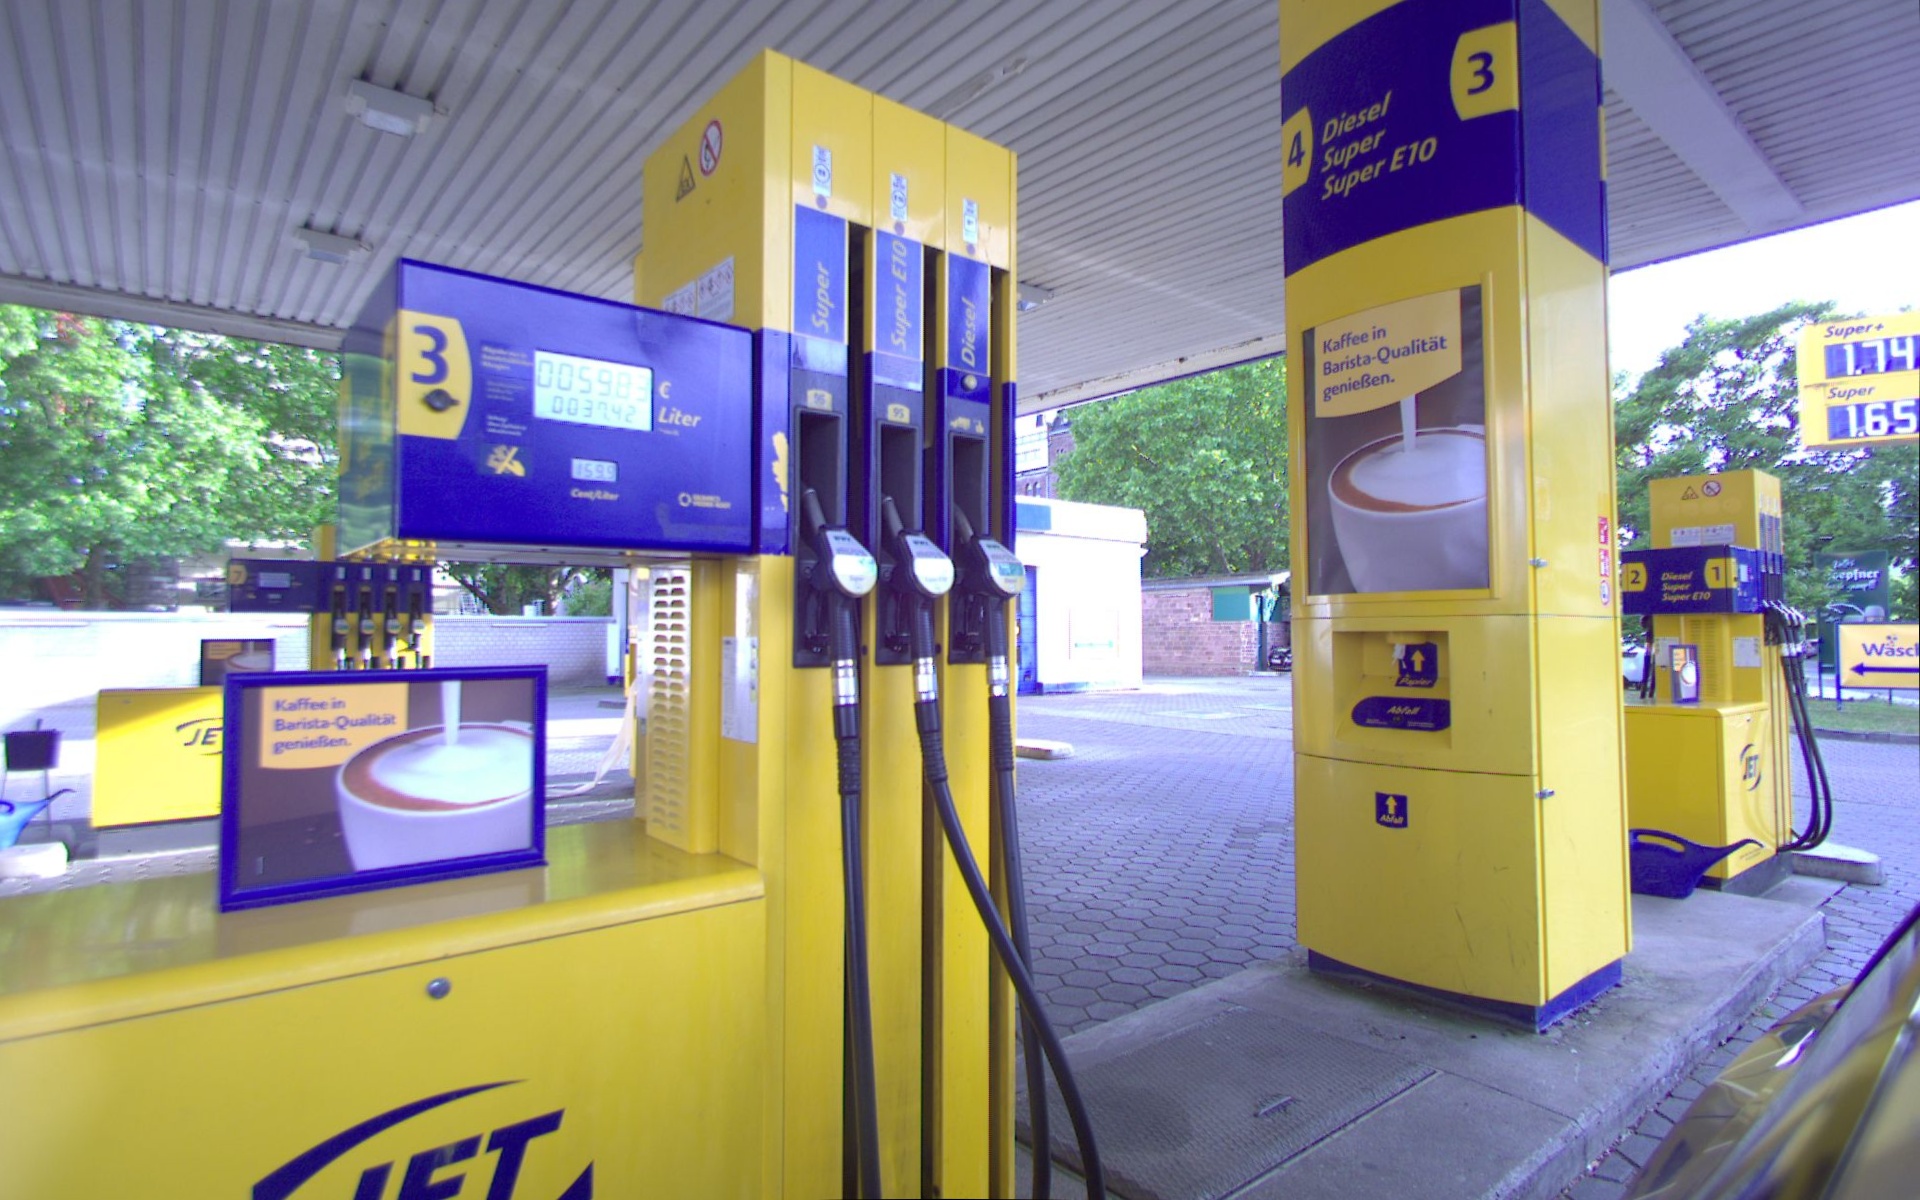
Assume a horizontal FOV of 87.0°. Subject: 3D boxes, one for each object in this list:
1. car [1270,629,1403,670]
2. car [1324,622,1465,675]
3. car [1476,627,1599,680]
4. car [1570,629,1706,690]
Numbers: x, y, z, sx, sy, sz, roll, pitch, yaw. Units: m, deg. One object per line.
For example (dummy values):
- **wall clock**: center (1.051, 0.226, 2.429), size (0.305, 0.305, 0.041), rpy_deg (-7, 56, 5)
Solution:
- **car**: center (12.828, 1.697, 34.490), size (4.134, 1.294, 1.751), rpy_deg (2, -3, -22)
- **car**: center (13.787, 1.546, 32.141), size (4.134, 1.544, 1.791), rpy_deg (2, -3, -24)
- **car**: center (17.554, 1.640, 30.742), size (3.923, 1.529, 1.740), rpy_deg (3, -3, -35)
- **car**: center (18.219, 1.562, 27.154), size (3.923, 1.529, 1.740), rpy_deg (2, -3, -35)
